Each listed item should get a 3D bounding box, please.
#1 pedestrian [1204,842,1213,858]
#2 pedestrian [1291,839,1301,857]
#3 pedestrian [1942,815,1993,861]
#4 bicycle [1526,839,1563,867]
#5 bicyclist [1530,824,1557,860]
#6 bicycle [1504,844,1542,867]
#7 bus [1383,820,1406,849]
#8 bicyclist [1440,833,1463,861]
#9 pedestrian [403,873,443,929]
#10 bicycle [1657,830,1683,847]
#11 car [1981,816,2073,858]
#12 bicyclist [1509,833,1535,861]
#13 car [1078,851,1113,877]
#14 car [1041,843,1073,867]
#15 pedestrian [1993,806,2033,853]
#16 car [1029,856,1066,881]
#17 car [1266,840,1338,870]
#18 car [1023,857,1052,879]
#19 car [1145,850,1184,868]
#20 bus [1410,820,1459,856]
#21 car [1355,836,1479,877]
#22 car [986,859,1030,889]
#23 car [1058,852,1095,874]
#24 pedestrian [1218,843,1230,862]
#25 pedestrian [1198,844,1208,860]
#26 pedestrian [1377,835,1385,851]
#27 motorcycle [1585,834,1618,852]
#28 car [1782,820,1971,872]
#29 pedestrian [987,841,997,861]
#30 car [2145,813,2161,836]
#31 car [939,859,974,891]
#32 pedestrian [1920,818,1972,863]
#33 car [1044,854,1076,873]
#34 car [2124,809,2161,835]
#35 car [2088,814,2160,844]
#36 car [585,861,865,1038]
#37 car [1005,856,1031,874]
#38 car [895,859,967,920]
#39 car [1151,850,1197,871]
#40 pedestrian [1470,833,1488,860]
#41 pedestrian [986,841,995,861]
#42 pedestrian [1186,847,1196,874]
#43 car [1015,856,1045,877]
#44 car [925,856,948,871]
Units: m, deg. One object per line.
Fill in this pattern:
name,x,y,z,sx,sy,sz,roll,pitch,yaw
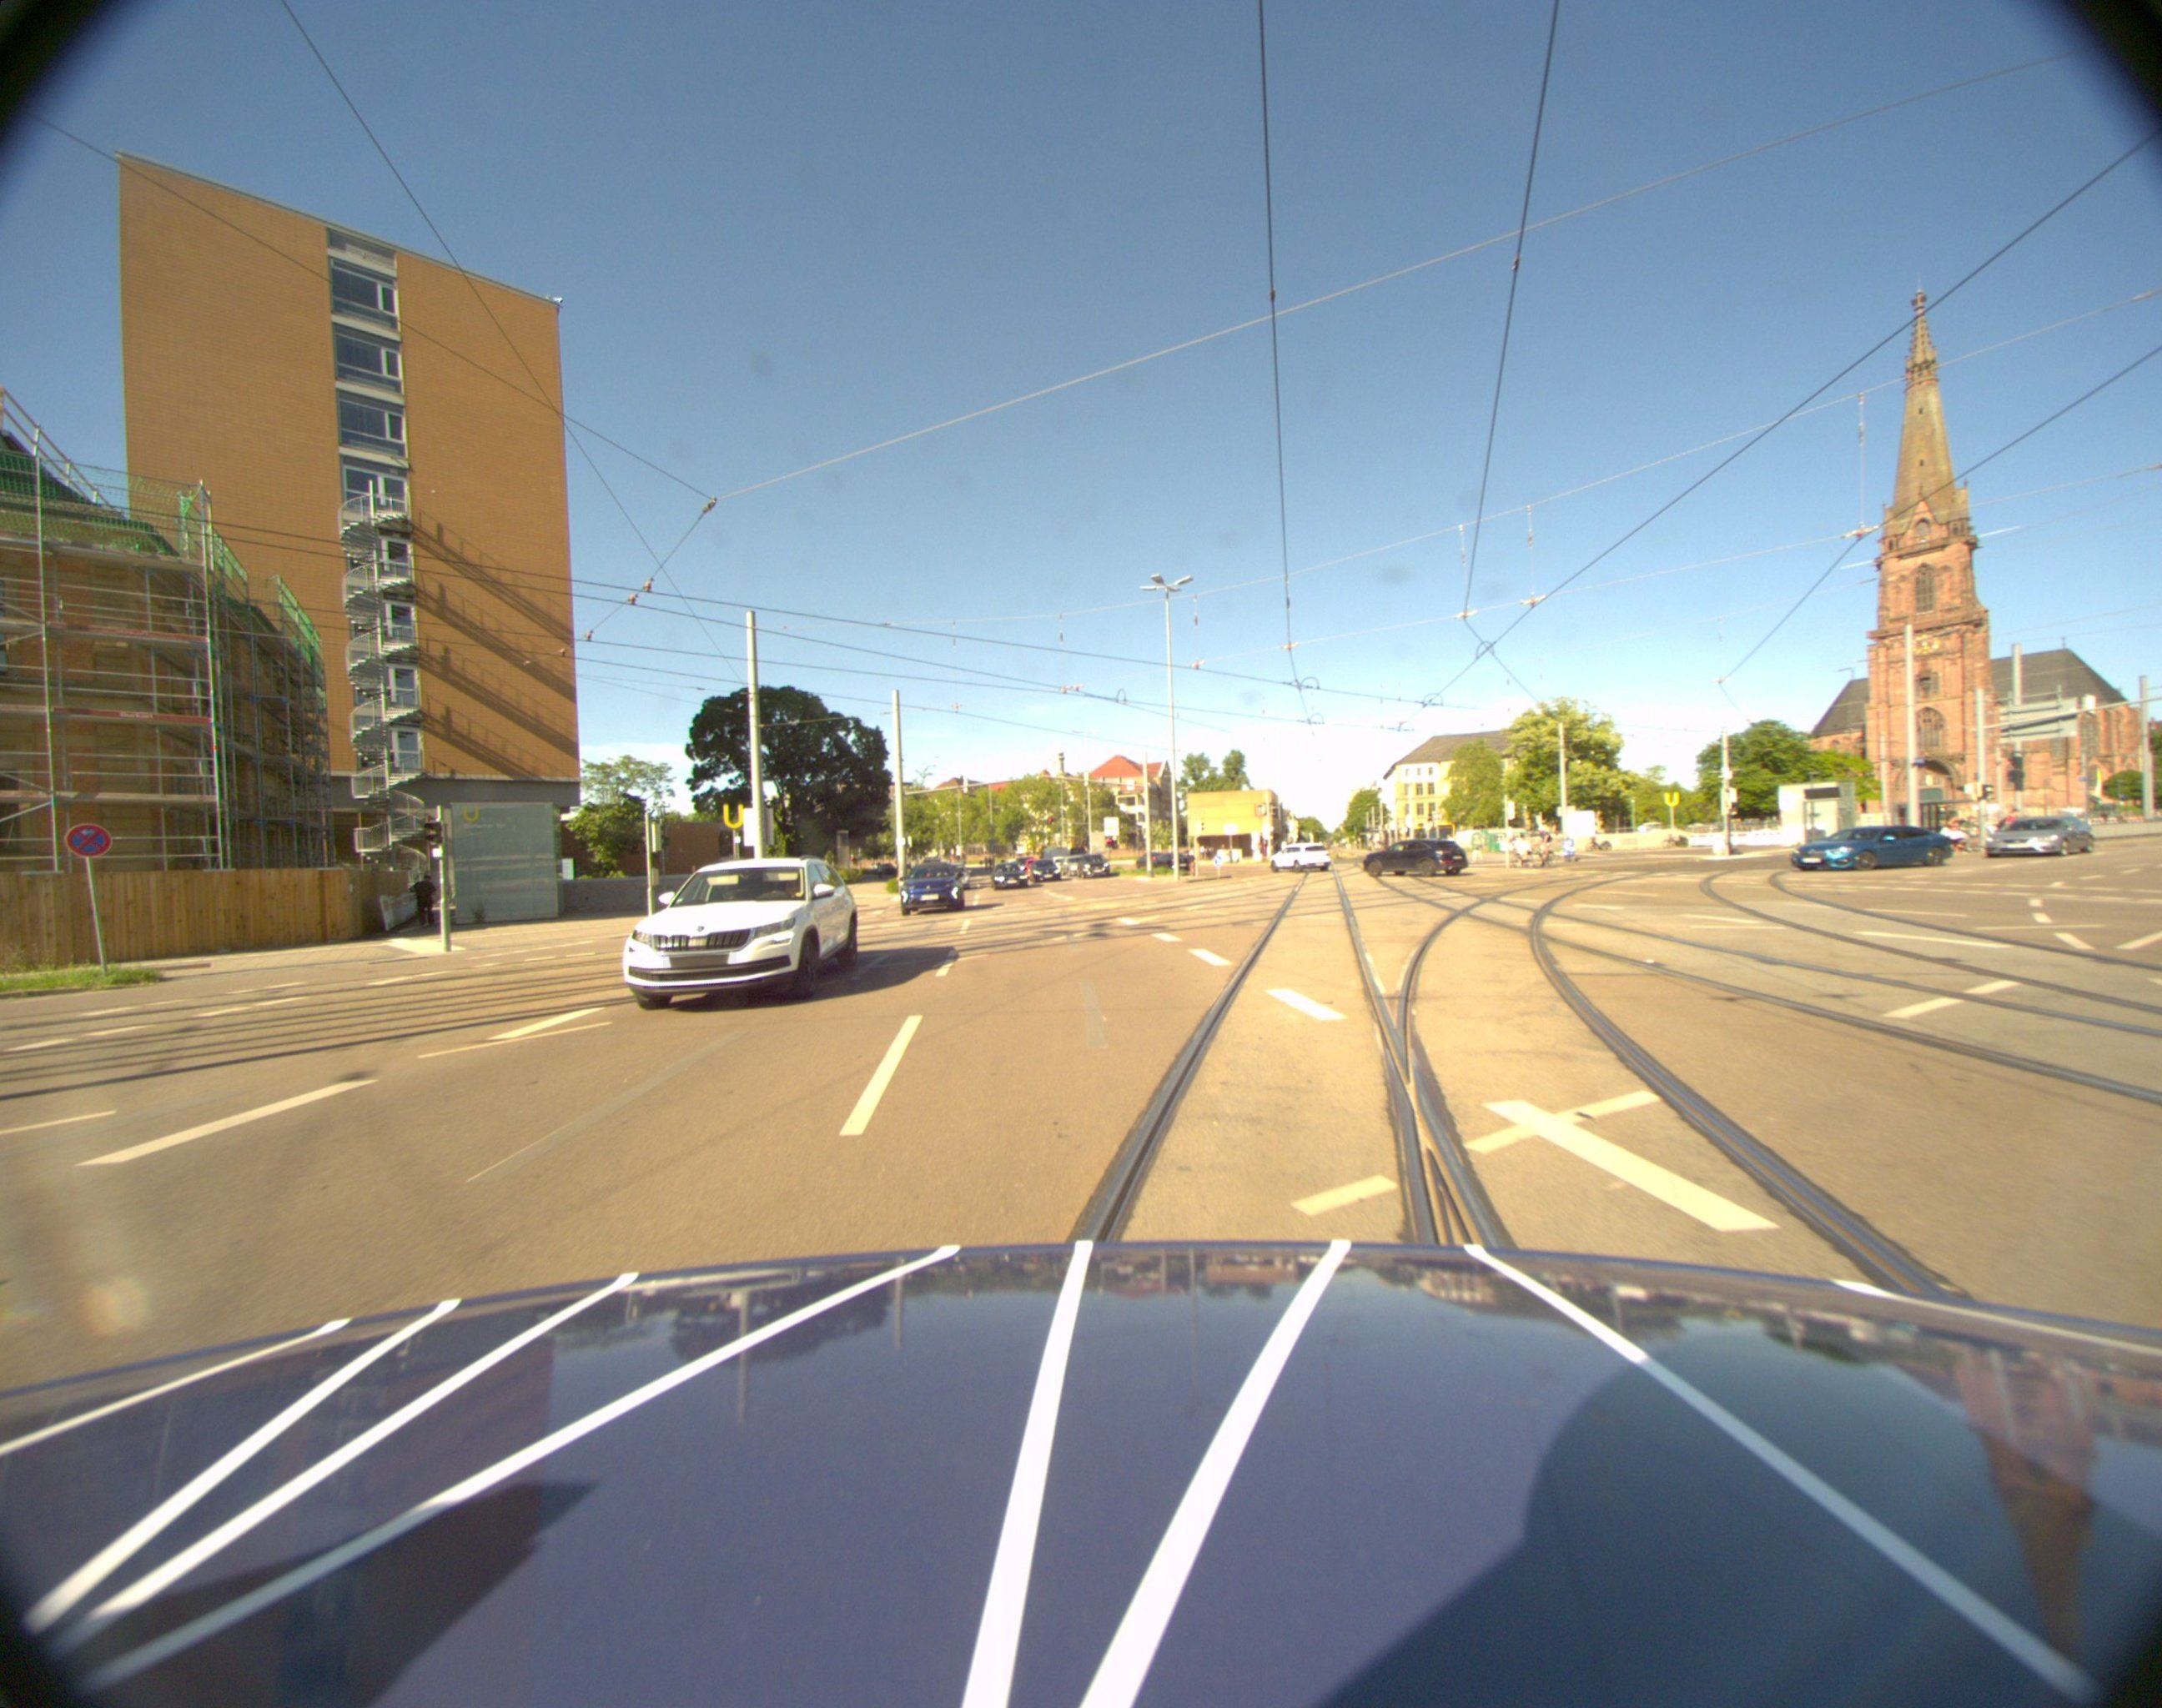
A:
pedestrian,14.034,-0.465,83.599,0.643,1.702,0.703,-3,1,32
pedestrian,24.077,-0.658,84.983,0.857,1.870,0.694,-3,1,27
pedestrian,38.147,-0.683,32.713,0.994,1.892,0.993,-4,1,-7
bicycle,22.032,-0.037,36.110,1.967,1.249,0.615,-2,1,-29
bicyclist,21.962,-0.584,36.069,0.796,1.665,0.758,-3,1,-29
bicycle,21.861,0.066,37.602,1.726,1.099,0.615,-2,1,-20
bus,36.653,-2.227,88.987,2.137,3.028,8.570,-4,0,21
bicyclist,21.166,-0.393,43.423,0.996,1.540,0.595,-3,1,-9
pedestrian,-22.000,1.567,25.415,0.778,1.777,0.829,-5,1,-33
bicycle,46.893,-1.212,60.492,1.498,1.263,0.366,-4,1,23
car,34.838,-0.631,27.956,4.607,1.321,1.792,-3,1,-35
bicyclist,21.805,-0.348,37.578,0.795,1.315,0.759,-3,1,-20
car,0.931,0.609,50.278,1.687,1.523,3.912,-4,1,-7
car,-2.876,0.150,88.890,2.245,2.665,5.298,-4,1,-18
pedestrian,39.522,-1.025,32.238,0.995,1.892,0.991,-5,1,-40
car,-2.216,0.897,49.183,1.887,1.450,4.009,-4,1,-8
car,12.793,0.064,44.318,2.004,1.631,4.560,-2,0,-13
car,-3.247,0.989,56.242,1.714,1.450,4.009,-4,1,-9
car,7.368,0.450,67.709,1.888,1.450,4.639,-3,1,-14
bus,36.277,-1.807,78.408,2.845,3.104,11.829,-4,2,17
car,14.550,0.108,33.177,2.047,1.568,4.619,-3,1,-29
car,-4.108,1.084,42.233,1.922,1.450,3.862,-4,1,-12
car,-0.381,0.660,56.770,1.826,1.450,4.656,-4,1,-11
pedestrian,14.117,-0.172,74.973,0.857,1.818,0.703,-3,1,27
pedestrian,13.574,-0.216,84.696,0.748,1.702,0.703,-3,1,32
pedestrian,35.484,-1.310,89.887,0.690,1.851,0.730,-4,1,22
motorcycle,42.309,-0.894,61.795,2.102,1.246,0.535,-4,1,18
car,26.036,-0.267,24.948,4.599,1.449,1.912,-3,1,-7
pedestrian,-11.038,-0.354,94.217,0.876,2.406,0.888,-4,1,-14
car,68.676,-1.918,47.690,4.006,1.352,1.910,-3,0,-32
car,-7.401,1.208,45.464,1.887,1.620,4.009,-4,1,-8
pedestrian,36.496,-0.575,32.080,0.993,1.789,0.994,-4,1,1
car,-1.817,0.768,63.558,1.826,1.450,4.656,-4,1,-11
car,60.894,-1.846,42.991,4.006,1.352,1.910,-3,0,-32
car,53.811,-1.309,39.194,4.006,1.352,1.910,-3,0,-32
car,-4.152,0.975,9.766,1.870,1.635,4.395,-3,-1,-7
car,-5.791,0.991,69.284,1.761,1.447,4.117,-4,1,-13
car,-4.668,1.037,24.133,1.887,1.620,4.009,-4,1,-8
car,6.969,0.504,57.328,1.853,1.408,4.475,-3,0,-14
pedestrian,24.244,-0.440,46.276,0.714,1.598,0.607,-4,1,-8
pedestrian,-11.314,-0.346,95.154,0.876,2.421,0.888,-4,1,-14
pedestrian,6.432,0.398,44.388,0.372,1.547,0.644,-4,1,0
car,-4.180,0.965,61.767,1.761,1.526,4.117,-4,1,-13
car,-15.859,1.010,83.239,1.923,1.450,4.662,-4,1,-16
